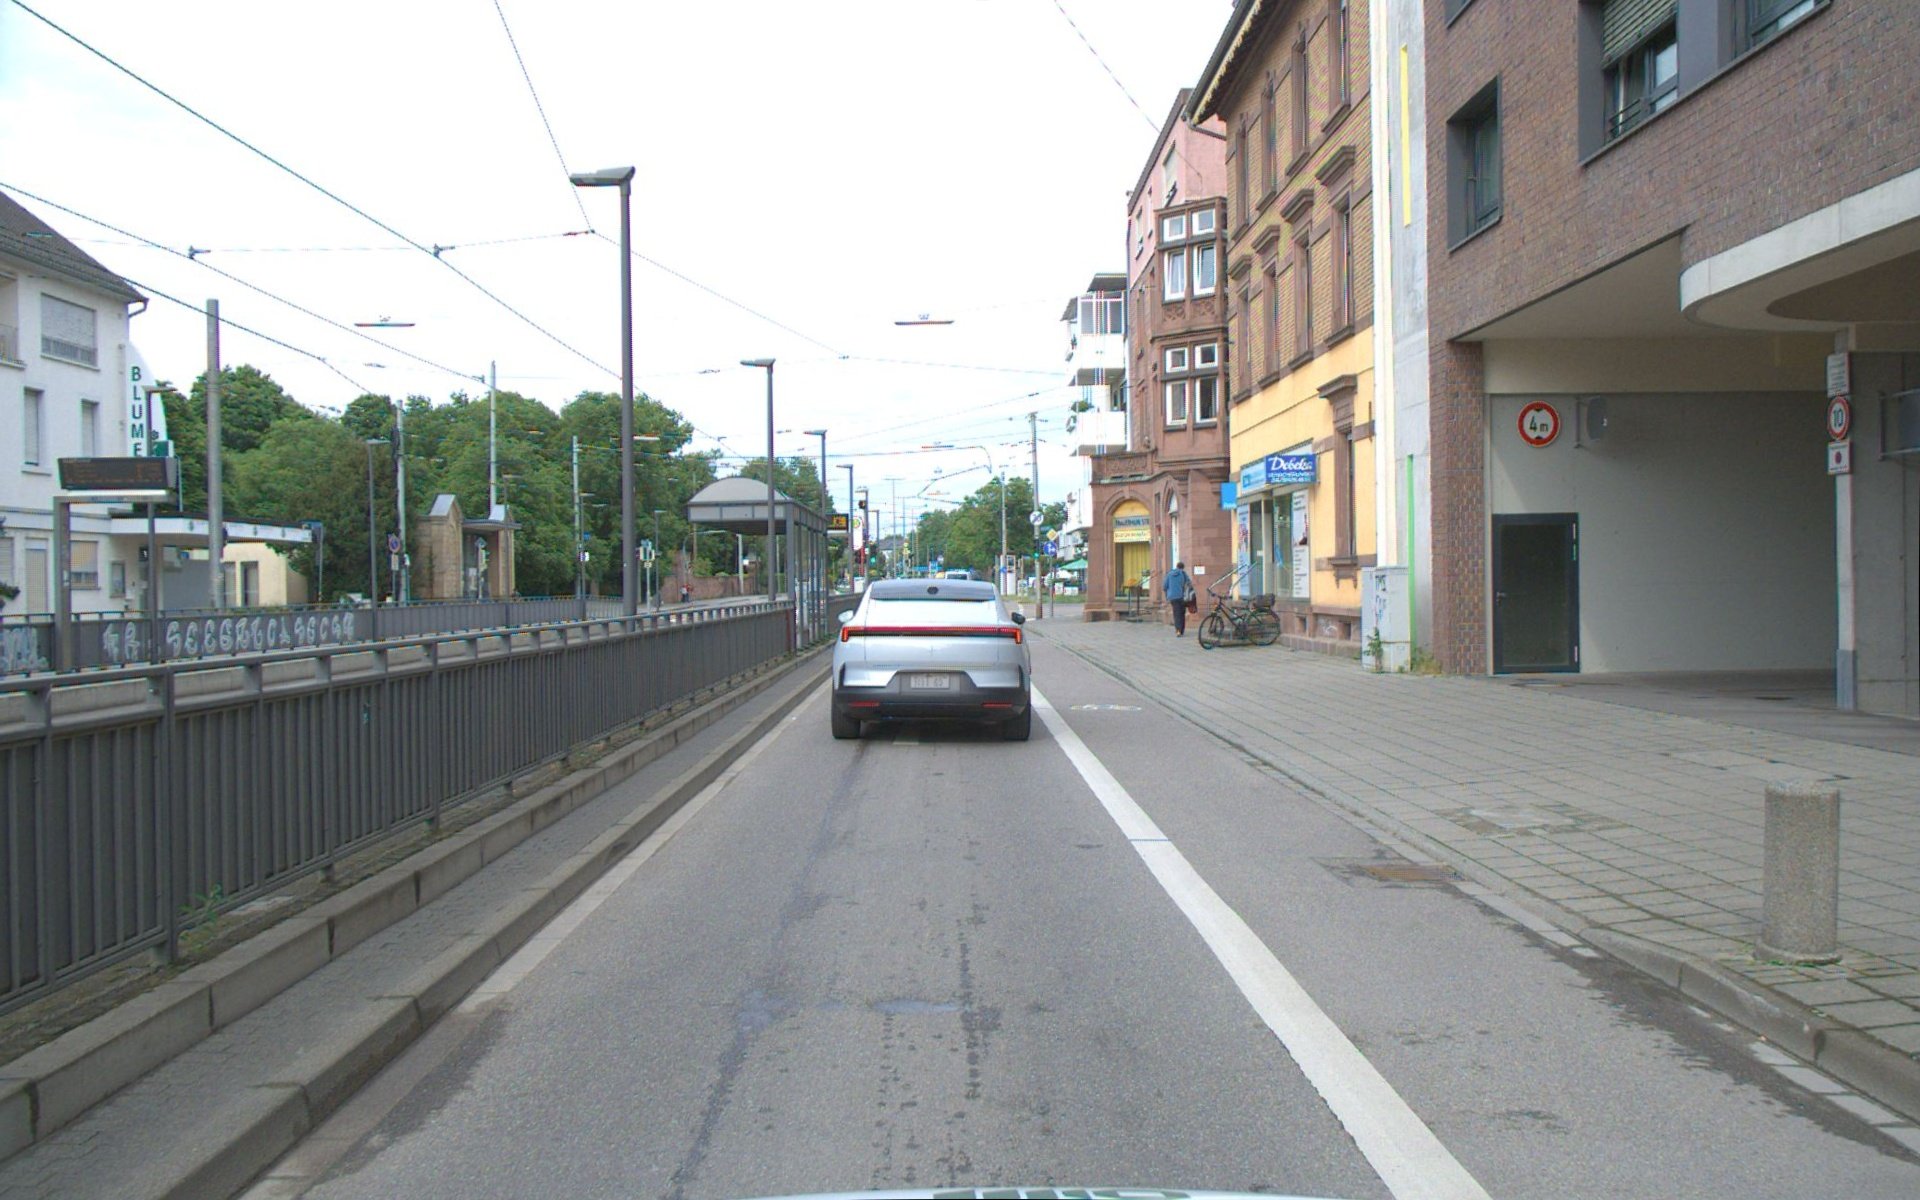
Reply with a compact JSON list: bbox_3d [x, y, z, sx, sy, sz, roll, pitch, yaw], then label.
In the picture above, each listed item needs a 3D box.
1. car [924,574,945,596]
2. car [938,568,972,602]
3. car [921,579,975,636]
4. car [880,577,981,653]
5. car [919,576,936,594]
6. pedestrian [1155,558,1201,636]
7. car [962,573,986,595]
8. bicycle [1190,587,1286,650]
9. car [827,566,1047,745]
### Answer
[{"bbox_3d":[-2.459,-1.393,157.901,1.953,2.049,3.999,-1,1,-1],"label":"car"},{"bbox_3d":[-0.392,-1.072,122.639,2.182,2.444,5.119,0,0,-4],"label":"car"},{"bbox_3d":[-0.388,0.223,52.280,1.647,1.717,3.823,0,0,0],"label":"car"},{"bbox_3d":[-0.640,0.278,34.611,1.953,1.444,3.999,-1,1,-2],"label":"car"},{"bbox_3d":[-3.663,-1.711,186.234,1.953,2.049,3.999,-1,1,-1],"label":"car"},{"bbox_3d":[5.447,-0.084,41.385,0.941,1.882,0.975,-3,1,-1],"label":"pedestrian"},{"bbox_3d":[1.605,-1.857,192.593,2.750,2.548,5.721,0,0,-1],"label":"car"},{"bbox_3d":[5.550,0.362,33.084,1.742,1.149,0.642,-3,0,-2],"label":"bicycle"},{"bbox_3d":[-0.364,0.508,16.906,1.960,1.608,3.996,0,0,-5],"label":"car"}]
